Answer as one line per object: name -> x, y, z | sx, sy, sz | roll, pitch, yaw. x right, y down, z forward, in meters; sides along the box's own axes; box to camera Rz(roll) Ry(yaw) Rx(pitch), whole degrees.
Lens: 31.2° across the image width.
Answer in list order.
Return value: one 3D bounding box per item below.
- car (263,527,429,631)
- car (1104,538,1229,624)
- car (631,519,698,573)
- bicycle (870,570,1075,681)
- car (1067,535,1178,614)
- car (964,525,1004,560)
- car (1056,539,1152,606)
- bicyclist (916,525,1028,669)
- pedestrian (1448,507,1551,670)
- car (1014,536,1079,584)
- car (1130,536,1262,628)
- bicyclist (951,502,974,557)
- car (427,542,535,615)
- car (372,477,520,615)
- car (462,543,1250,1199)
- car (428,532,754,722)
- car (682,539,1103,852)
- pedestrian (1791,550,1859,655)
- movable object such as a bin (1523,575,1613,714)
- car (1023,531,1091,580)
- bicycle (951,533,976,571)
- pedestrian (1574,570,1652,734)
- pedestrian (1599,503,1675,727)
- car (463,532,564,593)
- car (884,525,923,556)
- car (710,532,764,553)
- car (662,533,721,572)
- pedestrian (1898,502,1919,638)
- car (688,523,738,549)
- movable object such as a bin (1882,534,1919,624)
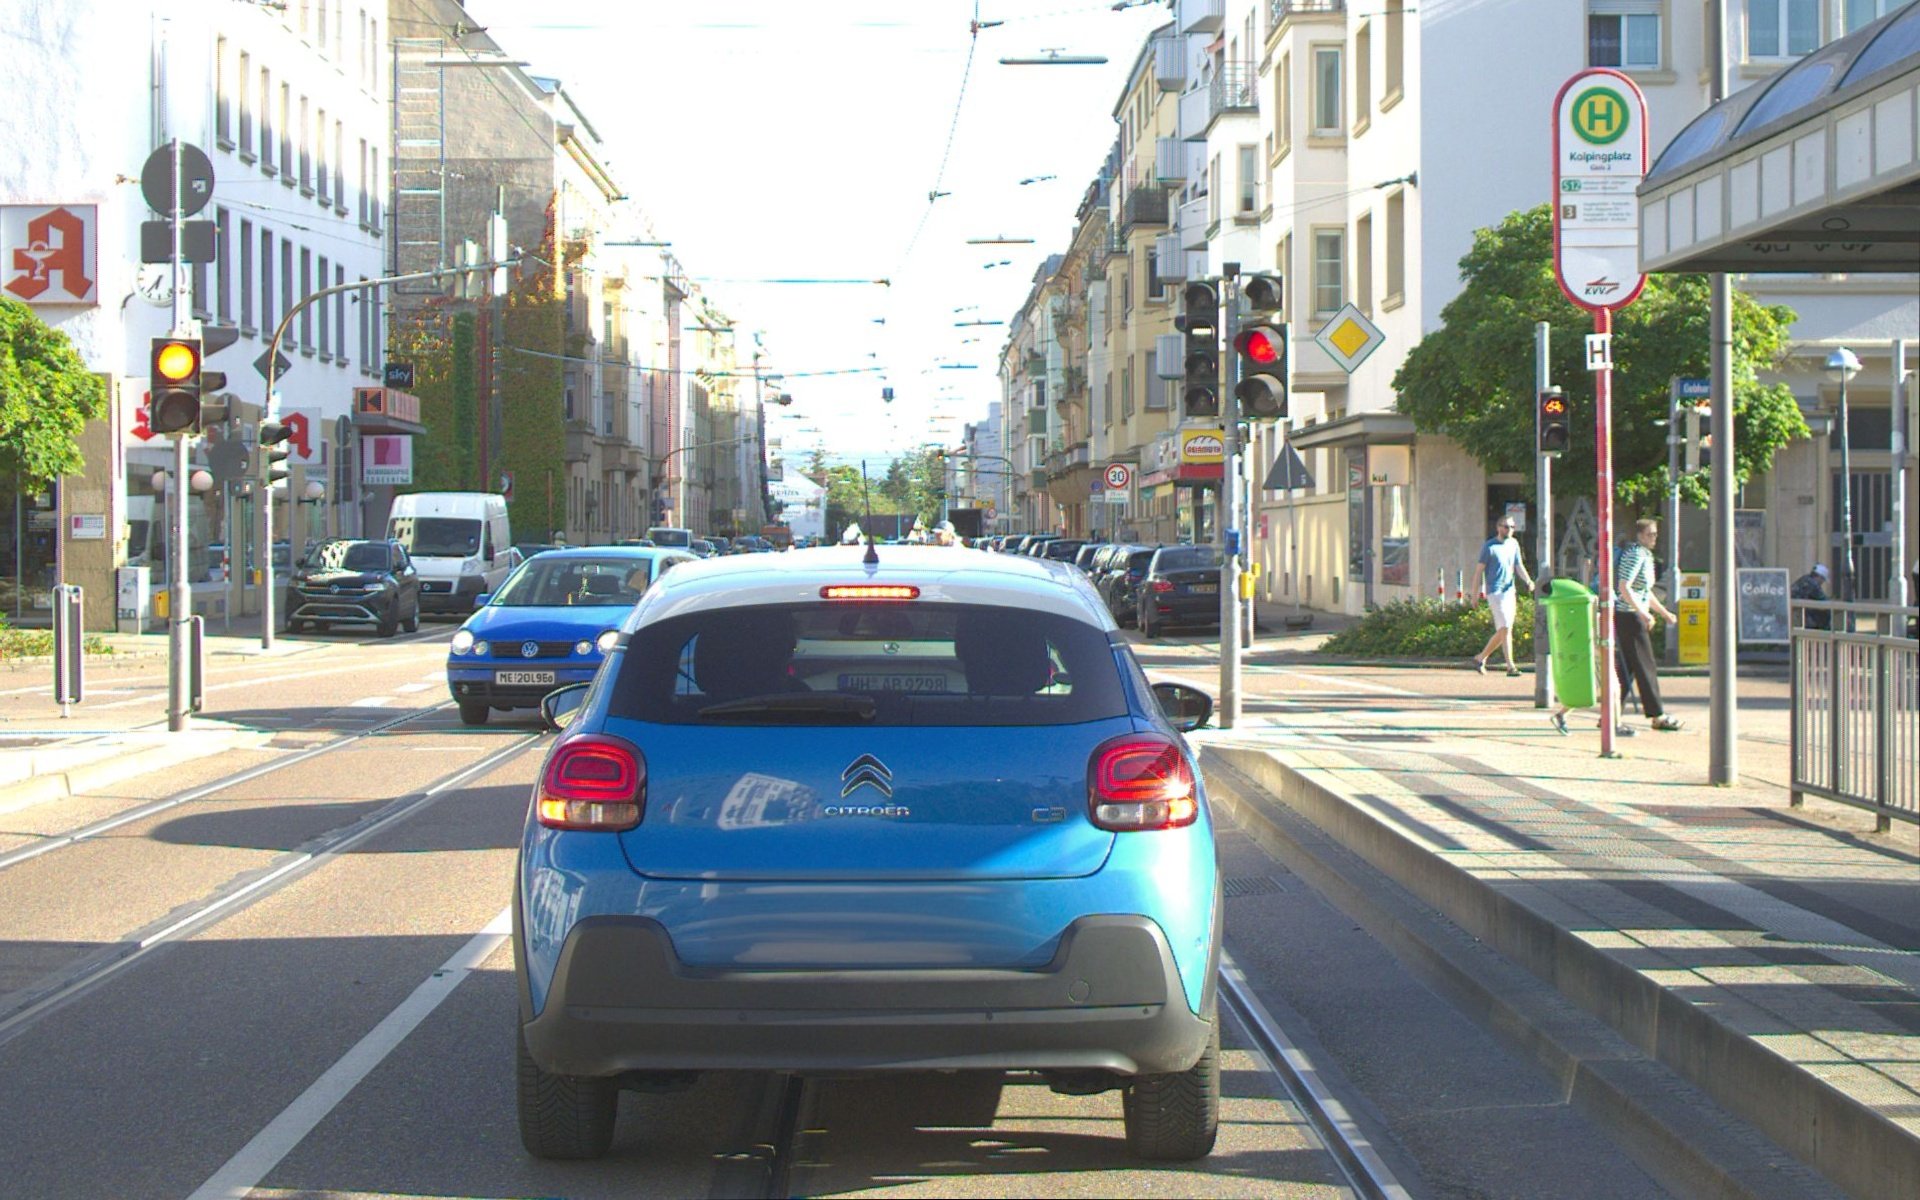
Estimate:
car -> -10.082, -0.356, 56.733 | 1.993, 1.563, 4.403 | 3, 0, -2
car -> 3.630, -0.364, 60.977 | 1.993, 1.459, 4.000 | 0, 1, 0
car -> -11.261, -2.048, 131.261 | 2.006, 2.007, 4.689 | 1, 1, 1
bicycle -> 0.132, 0.257, 35.332 | 1.970, 1.109, 0.730 | 0, 1, -24
car -> 3.145, -0.517, 67.212 | 1.993, 1.496, 4.000 | 0, 1, 0
car -> 1.224, -2.997, 177.867 | 1.993, 1.766, 4.000 | 0, 1, 0
car -> 3.217, -0.638, 77.293 | 1.993, 1.459, 4.000 | 0, 1, 0
bicyclist -> 0.119, -0.032, 35.317 | 0.874, 1.450, 0.830 | 1, 0, -24
pedestrian -> 6.288, -0.135, 40.092 | 0.981, 1.871, 1.129 | 0, 0, -2
car -> 2.843, -1.342, 113.855 | 1.993, 1.546, 4.000 | 0, 1, -1
car -> 3.854, -0.314, 56.715 | 1.909, 1.459, 4.000 | 0, 1, 0
bicyclist -> 0.078, -2.584, 126.675 | 0.809, 2.007, 0.922 | 1, 0, -1
car -> -10.239, -0.472, 73.750 | 1.888, 1.491, 3.562 | 1, 1, -1
car -> -9.966, -1.054, 67.085 | 2.085, 2.533, 6.206 | 1, 1, -2
car -> -0.253, 0.597, 9.532 | 1.728, 1.477, 3.827 | 1, 1, -1
car -> -3.065, 0.176, 29.372 | 1.668, 1.482, 3.998 | 1, 1, 11
car -> -0.348, 0.412, 18.771 | 1.984, 1.459, 4.816 | 1, 1, -1
pedestrian -> 10.897, 0.029, 43.303 | 0.741, 1.311, 0.627 | 0, 1, 23
movable object such as a bin -> 3.499, 0.251, 19.820 | 0.449, 0.783, 0.489 | 0, 1, 2
car -> 2.978, -1.387, 106.353 | 1.993, 1.459, 4.504 | 0, 1, 0
bicycle -> 0.115, -1.787, 126.554 | 0.920, 1.384, 3.132 | 0, 1, 0
pedestrian -> 4.943, 0.388, 26.046 | 0.558, 1.221, 0.526 | 1, 0, 10
pedestrian -> 5.348, 0.114, 27.177 | 0.558, 1.739, 0.526 | 1, 0, 10
car -> -10.695, -0.896, 82.599 | 1.993, 1.393, 4.157 | 1, 1, -1
car -> -3.215, -3.382, 195.904 | 1.993, 1.772, 4.001 | 0, 1, -4
car -> -12.274, -3.156, 189.323 | 1.994, 1.152, 4.513 | 0, 1, 9
car -> -10.996, -1.944, 140.948 | 1.955, 1.547, 3.938 | 1, 1, 2
pedestrian -> 13.222, -0.416, 46.740 | 0.784, 1.832, 0.678 | 0, 1, 3
car -> -11.356, -2.931, 158.002 | 1.993, 1.152, 4.000 | 0, 1, 0
movable object such as a bin -> 12.692, -0.274, 44.499 | 1.198, 1.149, 1.217 | 0, 1, 0
